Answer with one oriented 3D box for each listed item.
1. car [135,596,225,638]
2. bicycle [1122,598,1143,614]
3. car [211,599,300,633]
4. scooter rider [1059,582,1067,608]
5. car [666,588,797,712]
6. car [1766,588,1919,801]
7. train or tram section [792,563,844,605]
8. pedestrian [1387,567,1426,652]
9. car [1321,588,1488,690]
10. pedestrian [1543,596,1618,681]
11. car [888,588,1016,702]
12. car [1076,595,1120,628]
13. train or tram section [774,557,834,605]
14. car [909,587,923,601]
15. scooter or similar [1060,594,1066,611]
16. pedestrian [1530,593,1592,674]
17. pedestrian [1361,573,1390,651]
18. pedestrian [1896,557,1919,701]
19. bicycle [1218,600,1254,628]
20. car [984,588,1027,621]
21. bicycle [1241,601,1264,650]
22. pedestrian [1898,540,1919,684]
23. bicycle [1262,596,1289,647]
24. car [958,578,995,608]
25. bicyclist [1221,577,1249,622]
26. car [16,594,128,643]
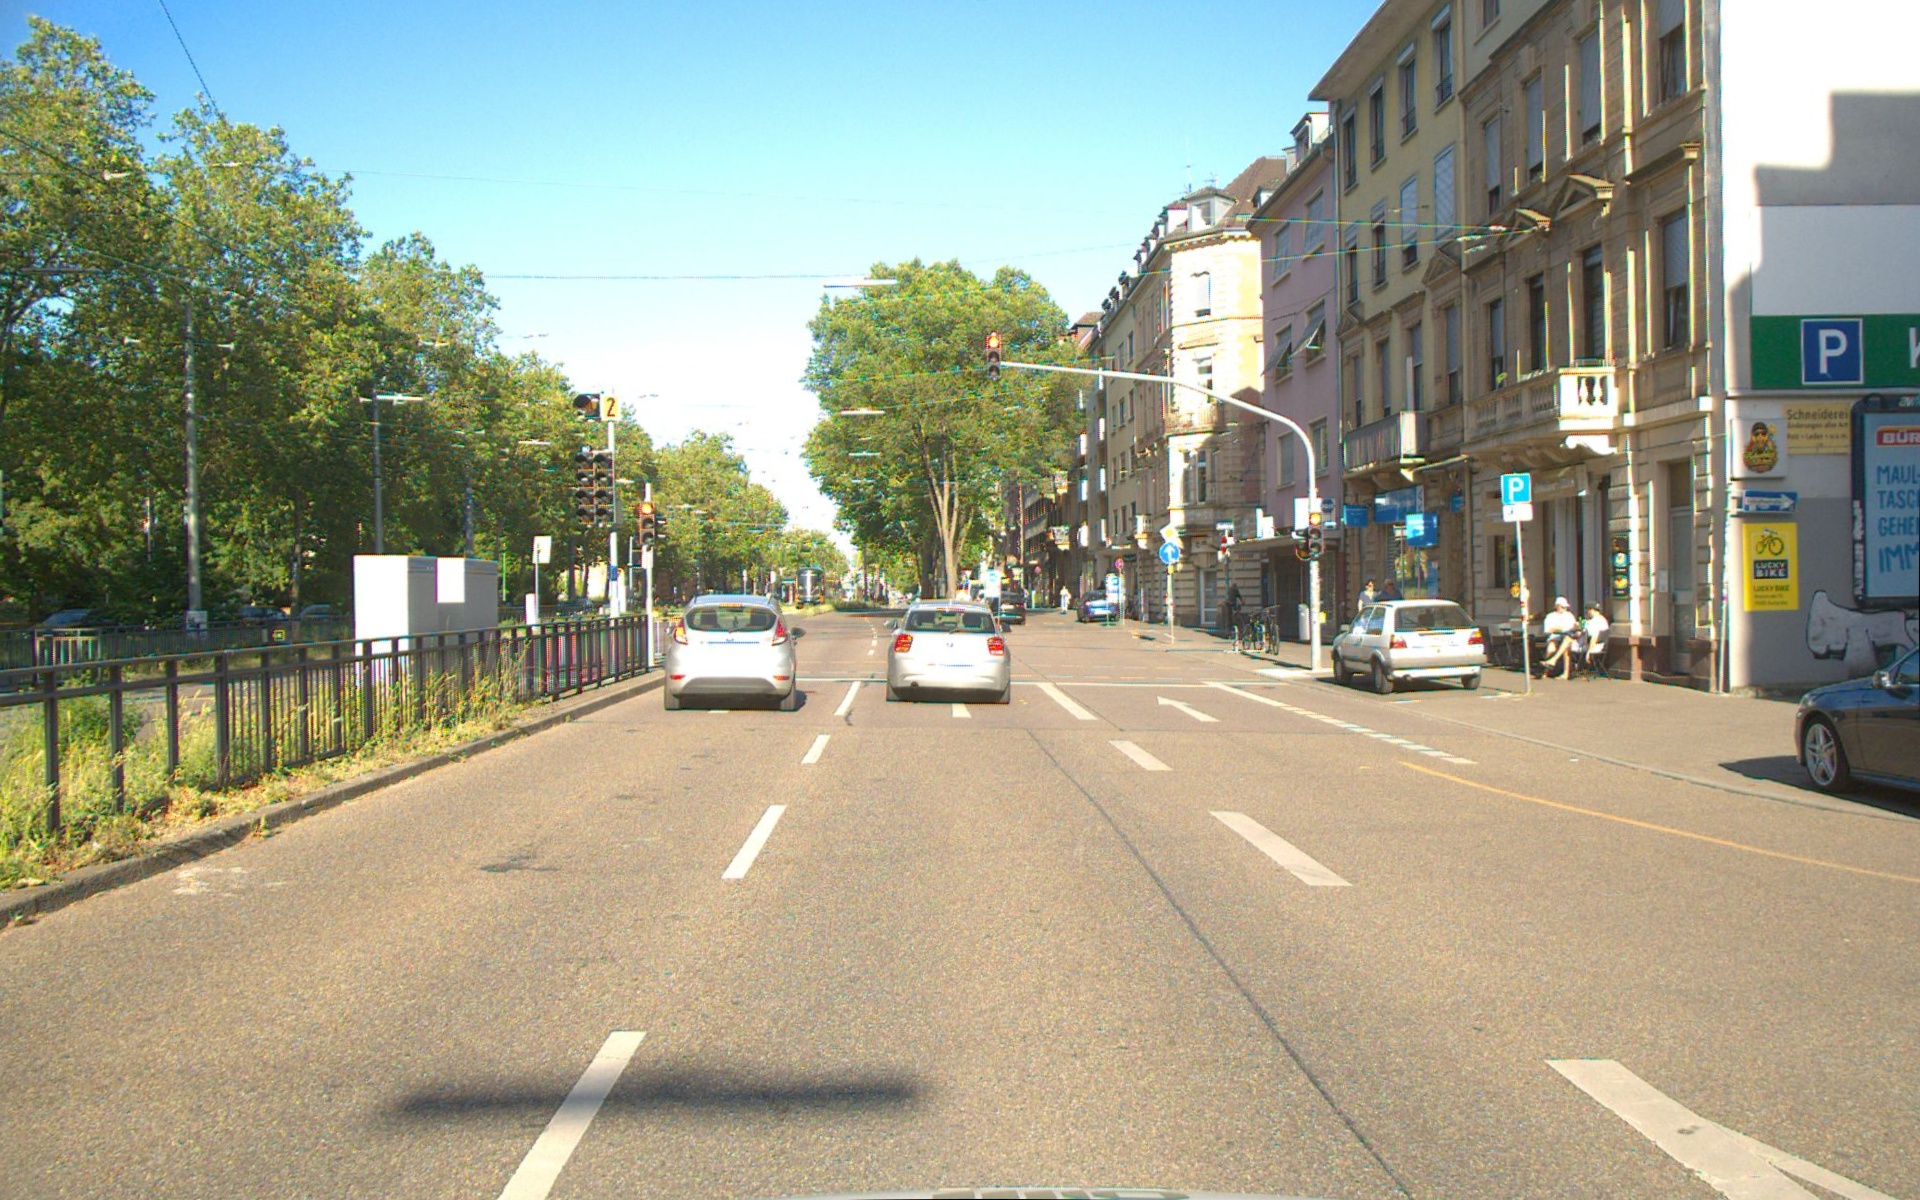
[{"bbox_3d":[-30.078,0.632,63.875,1.636,1.536,4.143,0,1,-3],"label":"car"},{"bbox_3d":[8.497,0.293,81.407,0.739,0.784,1.944,0,0,-3],"label":"bicycle"},{"bbox_3d":[-30.010,0.682,70.583,1.897,1.372,4.846,0,-1,-3],"label":"car"},{"bbox_3d":[6.252,-0.316,100.264,0.456,1.531,0.811,0,-1,-1],"label":"scooter rider"},{"bbox_3d":[-3.006,0.599,22.262,1.578,1.493,3.885,-1,1,-6],"label":"car"},{"bbox_3d":[8.046,0.700,12.202,1.796,1.513,4.733,-3,1,0],"label":"car"},{"bbox_3d":[-13.981,-1.604,164.378,3.924,3.933,17.485,0,1,-1],"label":"train or tram section"},{"bbox_3d":[9.980,0.209,36.979,0.659,1.838,0.530,-3,0,-2],"label":"pedestrian"},{"bbox_3d":[7.234,0.575,27.295,1.531,1.440,4.003,-4,1,-1],"label":"car"},{"bbox_3d":[9.926,0.606,26.475,0.883,1.304,0.655,-3,0,-6],"label":"pedestrian"},{"bbox_3d":[-0.146,0.596,24.390,1.705,1.493,3.999,1,0,-1],"label":"car"},{"bbox_3d":[6.741,0.568,81.122,1.700,1.546,3.635,1,0,-2],"label":"car"},{"bbox_3d":[-13.699,-1.678,146.890,3.888,3.933,17.485,0,1,-1],"label":"train or tram section"},{"bbox_3d":[-6.464,-0.898,243.824,1.953,2.049,3.999,-1,0,-1],"label":"car"},{"bbox_3d":[6.237,0.156,100.293,0.330,1.005,1.284,0,1,1],"label":"scooter or similar"},{"bbox_3d":[9.876,0.550,27.200,0.781,1.304,0.608,-1,0,-3],"label":"pedestrian"},{"bbox_3d":[9.297,0.269,37.058,0.538,1.738,0.388,-1,0,1],"label":"pedestrian"},{"bbox_3d":[12.226,0.349,20.711,0.749,1.786,0.510,-1,0,-22],"label":"pedestrian"},{"bbox_3d":[9.506,0.467,56.935,0.642,0.919,1.331,0,1,40],"label":"bicycle"},{"bbox_3d":[2.052,0.186,75.079,1.701,1.458,3.676,1,0,-3],"label":"car"},{"bbox_3d":[7.147,0.608,40.437,0.405,1.160,1.810,0,1,5],"label":"bicycle"},{"bbox_3d":[12.823,0.146,21.533,0.749,1.873,0.743,-1,0,-21],"label":"pedestrian"},{"bbox_3d":[7.583,0.497,39.767,0.439,1.179,1.759,0,1,5],"label":"bicycle"},{"bbox_3d":[0.845,-0.366,86.419,1.690,1.533,3.553,1,0,-3],"label":"car"},{"bbox_3d":[9.471,-0.005,56.938,0.538,1.528,0.956,-1,0,40],"label":"bicyclist"},{"bbox_3d":[-29.674,0.599,55.421,1.636,1.536,4.143,-1,0,-3],"label":"car"}]
